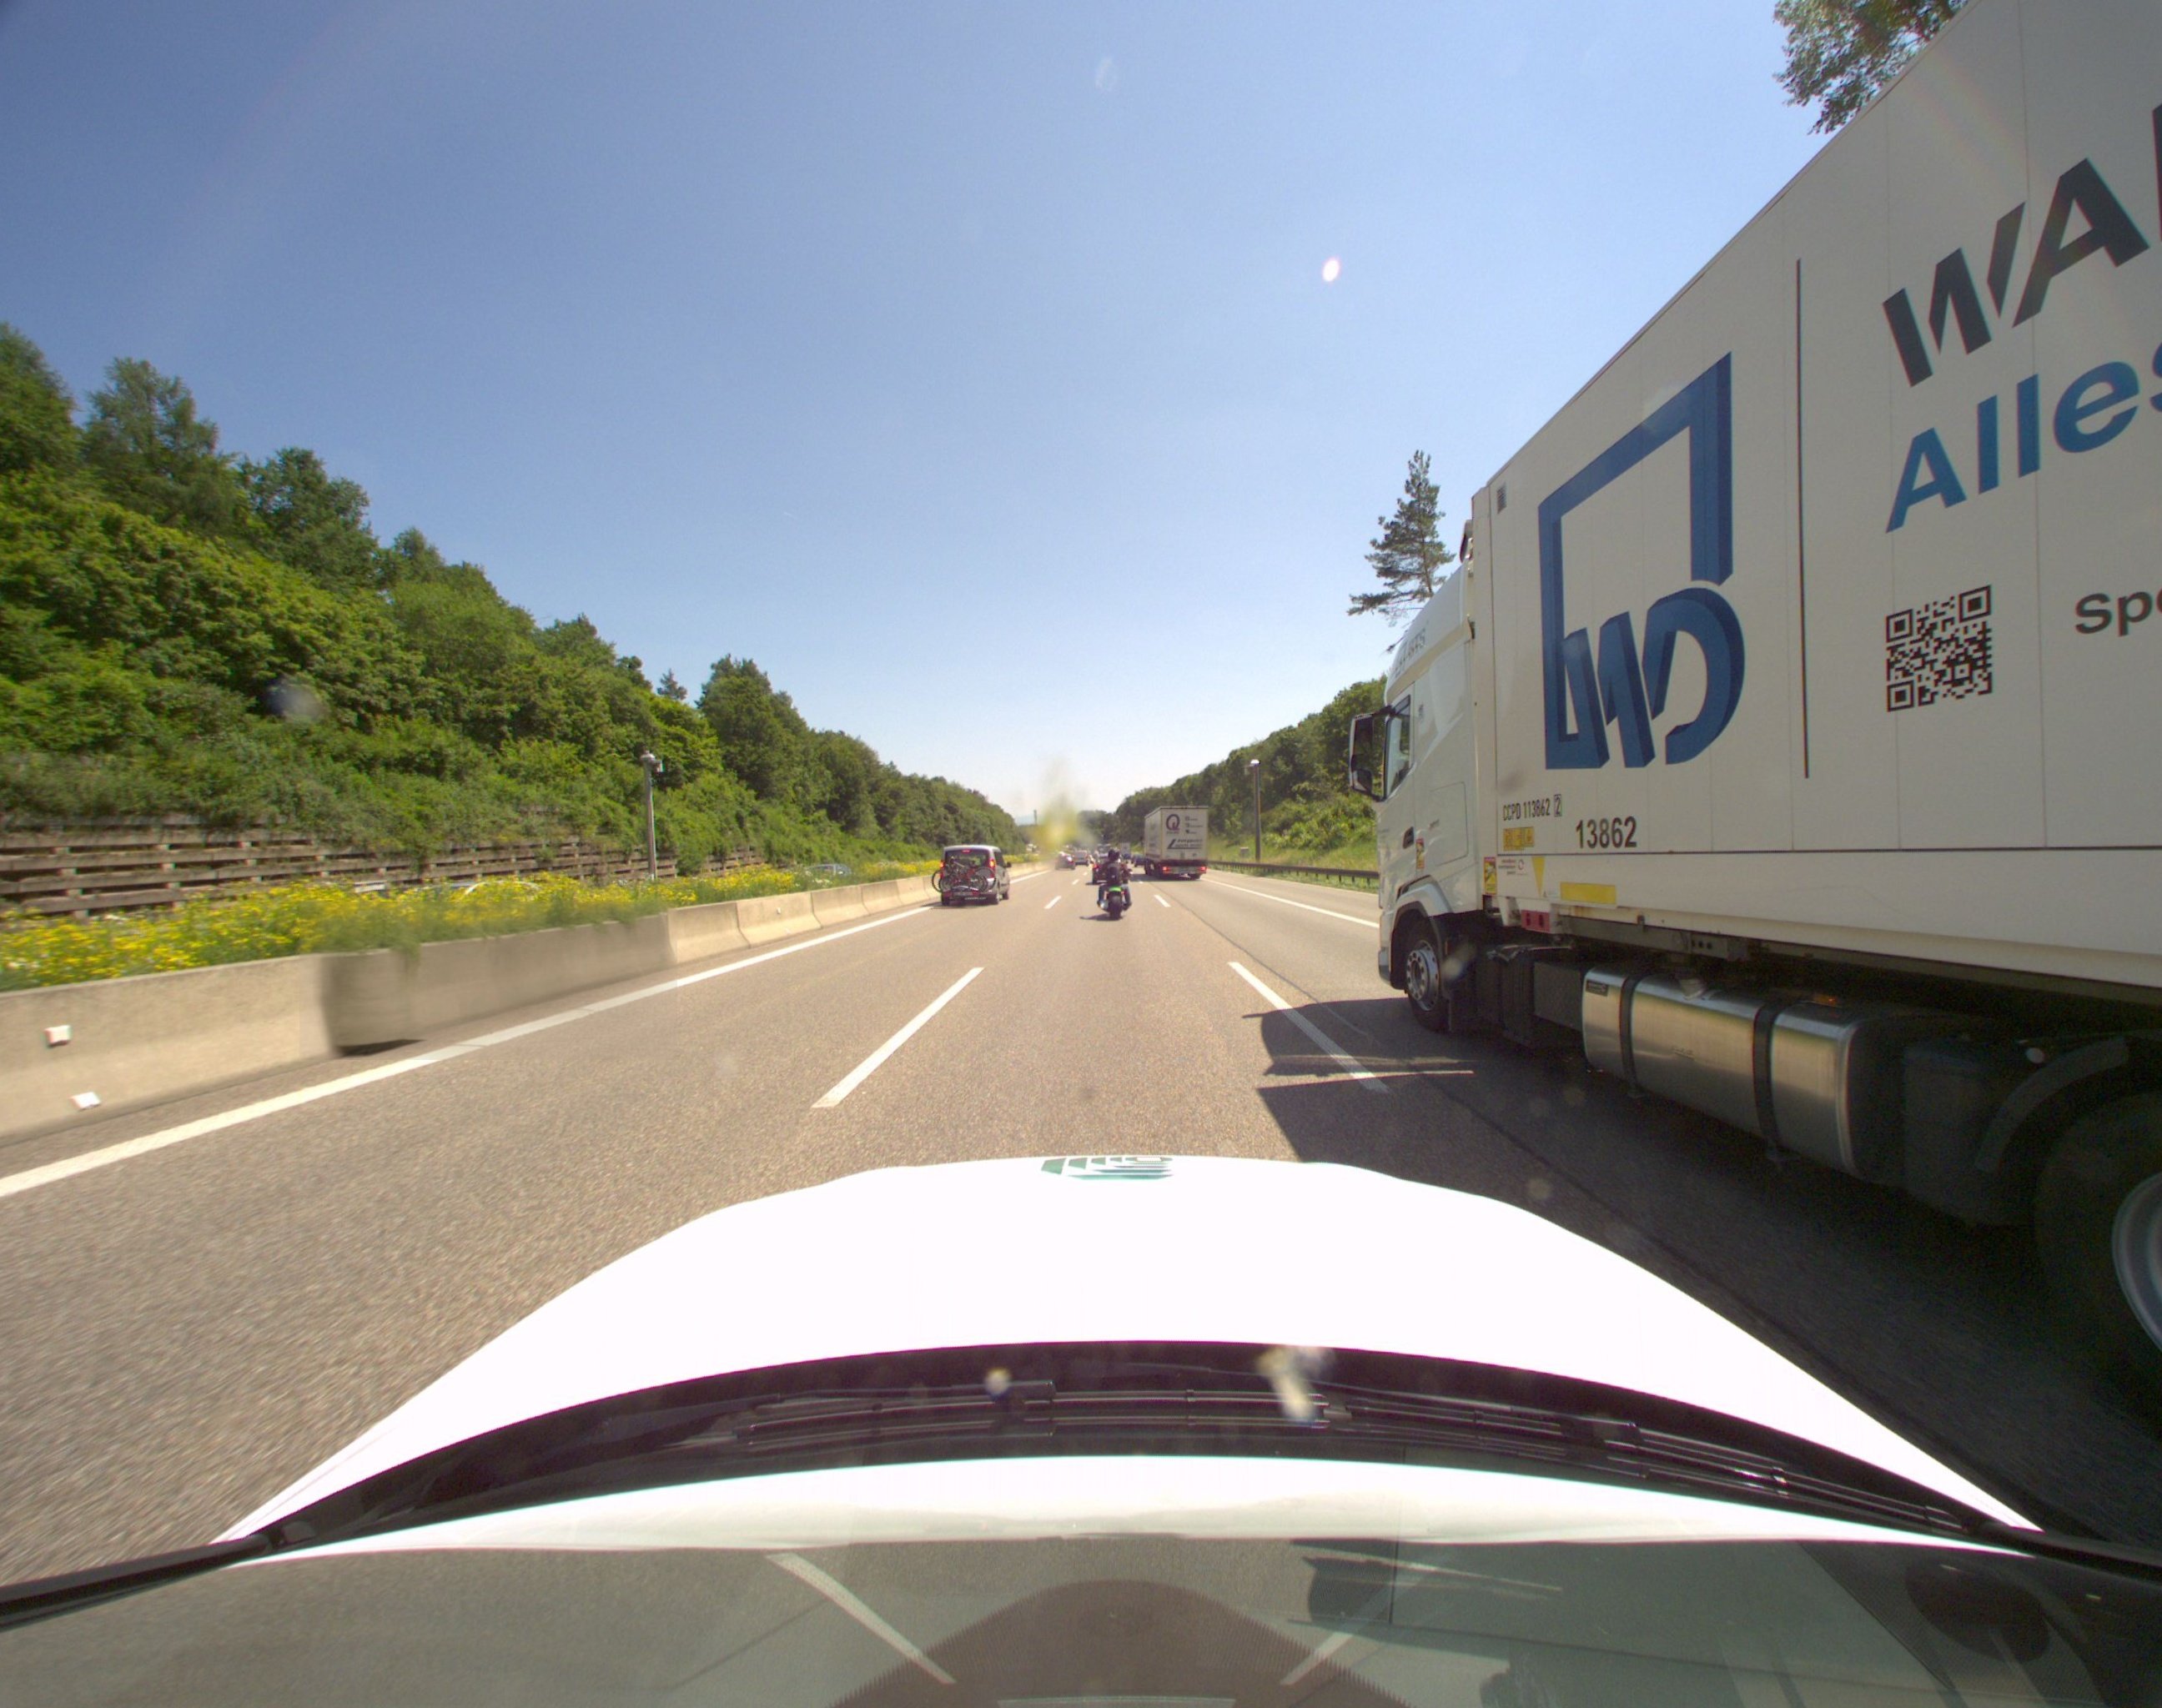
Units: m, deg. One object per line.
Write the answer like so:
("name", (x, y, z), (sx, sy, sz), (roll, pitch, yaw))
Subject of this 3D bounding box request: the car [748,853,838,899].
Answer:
("car", (-10.779, 0.772, 30.770), (1.782, 1.522, 4.204), (-2, 0, 1))

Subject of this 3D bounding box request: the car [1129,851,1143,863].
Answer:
("car", (7.866, 0.439, 116.170), (1.824, 1.558, 4.122), (-1, 1, 1))

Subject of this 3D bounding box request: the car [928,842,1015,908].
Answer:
("car", (-3.357, 0.567, 26.141), (1.891, 1.847, 5.485), (-1, 1, 1))

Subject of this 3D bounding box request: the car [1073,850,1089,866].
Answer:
("car", (-0.022, 0.457, 99.084), (1.824, 1.810, 4.122), (-1, 1, 1))

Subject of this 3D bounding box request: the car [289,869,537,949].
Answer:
("car", (-14.104, 1.079, 17.590), (1.782, 1.344, 4.204), (-2, 0, 1))

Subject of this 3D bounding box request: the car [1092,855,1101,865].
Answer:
("car", (3.220, 1.279, 169.550), (1.824, 1.810, 4.122), (-1, 1, 1))

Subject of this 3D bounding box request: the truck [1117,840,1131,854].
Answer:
("truck", (10.140, -1.696, 191.685), (3.056, 3.346, 9.657), (0, 1, 2))

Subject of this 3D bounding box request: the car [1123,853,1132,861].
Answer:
("car", (9.592, 0.524, 168.781), (1.824, 1.558, 4.122), (-1, 1, 1))

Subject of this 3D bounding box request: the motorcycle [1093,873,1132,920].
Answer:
("motorcycle", (0.759, 0.983, 19.326), (0.859, 0.982, 2.132), (-1, 0, 3))

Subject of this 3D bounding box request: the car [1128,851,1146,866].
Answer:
("car", (6.066, 0.467, 88.475), (1.824, 1.558, 4.122), (-1, 1, 1))

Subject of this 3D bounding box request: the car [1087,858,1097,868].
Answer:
("car", (2.029, 1.633, 149.317), (1.824, 1.810, 4.122), (-1, 1, 1))

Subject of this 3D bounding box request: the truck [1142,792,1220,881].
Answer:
("truck", (5.978, -1.107, 52.113), (3.370, 4.717, 17.718), (0, 1, 2))

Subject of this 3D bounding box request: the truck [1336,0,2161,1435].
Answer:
("truck", (3.976, -0.680, 3.685), (2.669, 4.059, 10.632), (-1, 1, 2))

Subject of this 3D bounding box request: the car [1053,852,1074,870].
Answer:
("car", (-1.659, 0.649, 76.838), (1.751, 1.543, 4.397), (-1, 1, 1))

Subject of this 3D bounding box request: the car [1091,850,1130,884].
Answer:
("car", (1.460, 0.608, 41.160), (1.839, 1.557, 4.441), (-1, 1, 1))

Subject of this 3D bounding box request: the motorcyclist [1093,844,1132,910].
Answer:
("motorcyclist", (0.747, 0.523, 19.219), (0.852, 1.515, 0.914), (-1, 0, 2))
